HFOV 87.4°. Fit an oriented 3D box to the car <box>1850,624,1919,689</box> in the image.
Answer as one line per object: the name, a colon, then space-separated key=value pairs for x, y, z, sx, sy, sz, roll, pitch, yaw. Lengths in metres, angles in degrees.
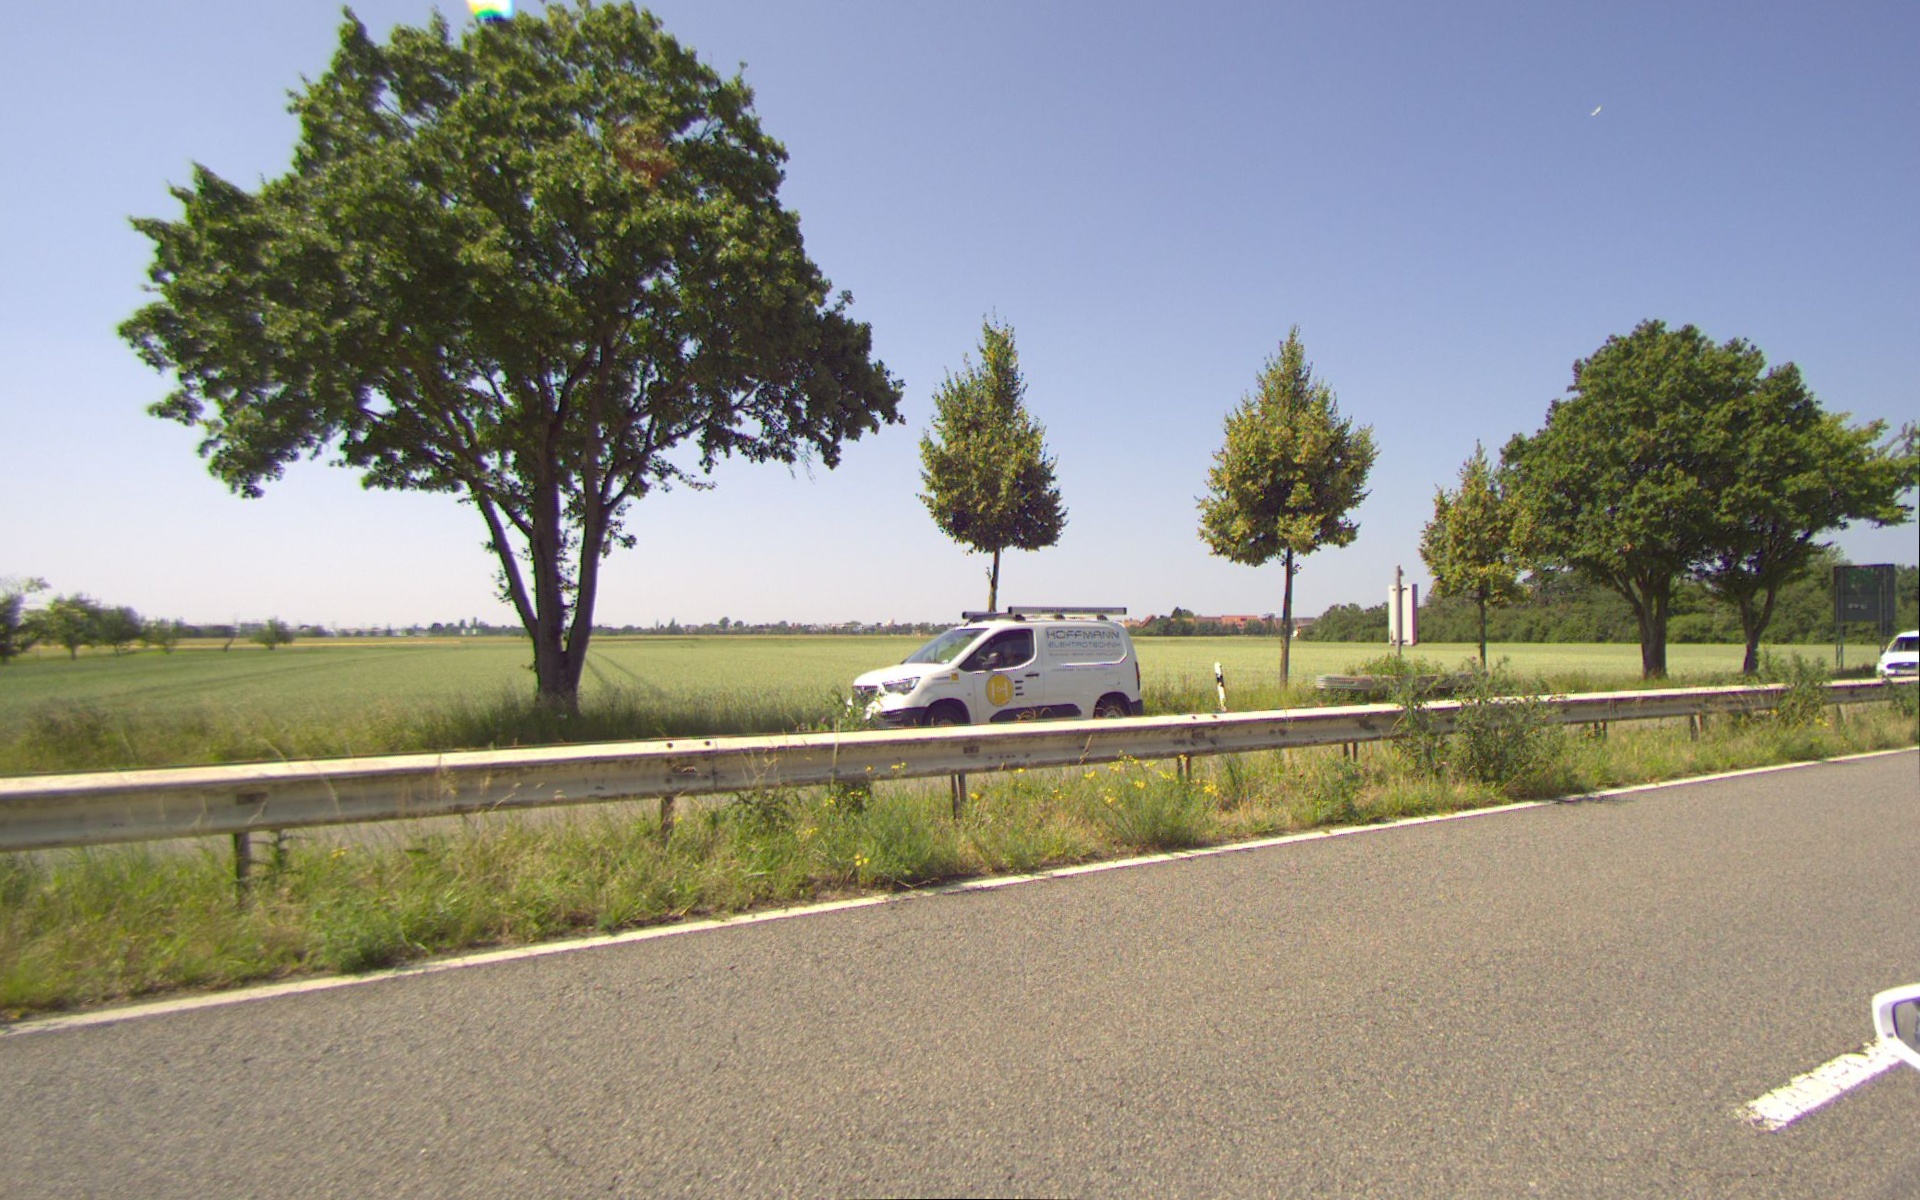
car: x=31.449 y=1.793 z=32.862 sx=4.866 sy=1.986 sz=1.985 roll=1 pitch=-1 yaw=-29

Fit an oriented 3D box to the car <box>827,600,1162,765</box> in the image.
car: x=0.545 y=1.091 z=14.513 sx=4.479 sy=2.040 sz=2.028 roll=1 pitch=-2 yaw=-31
